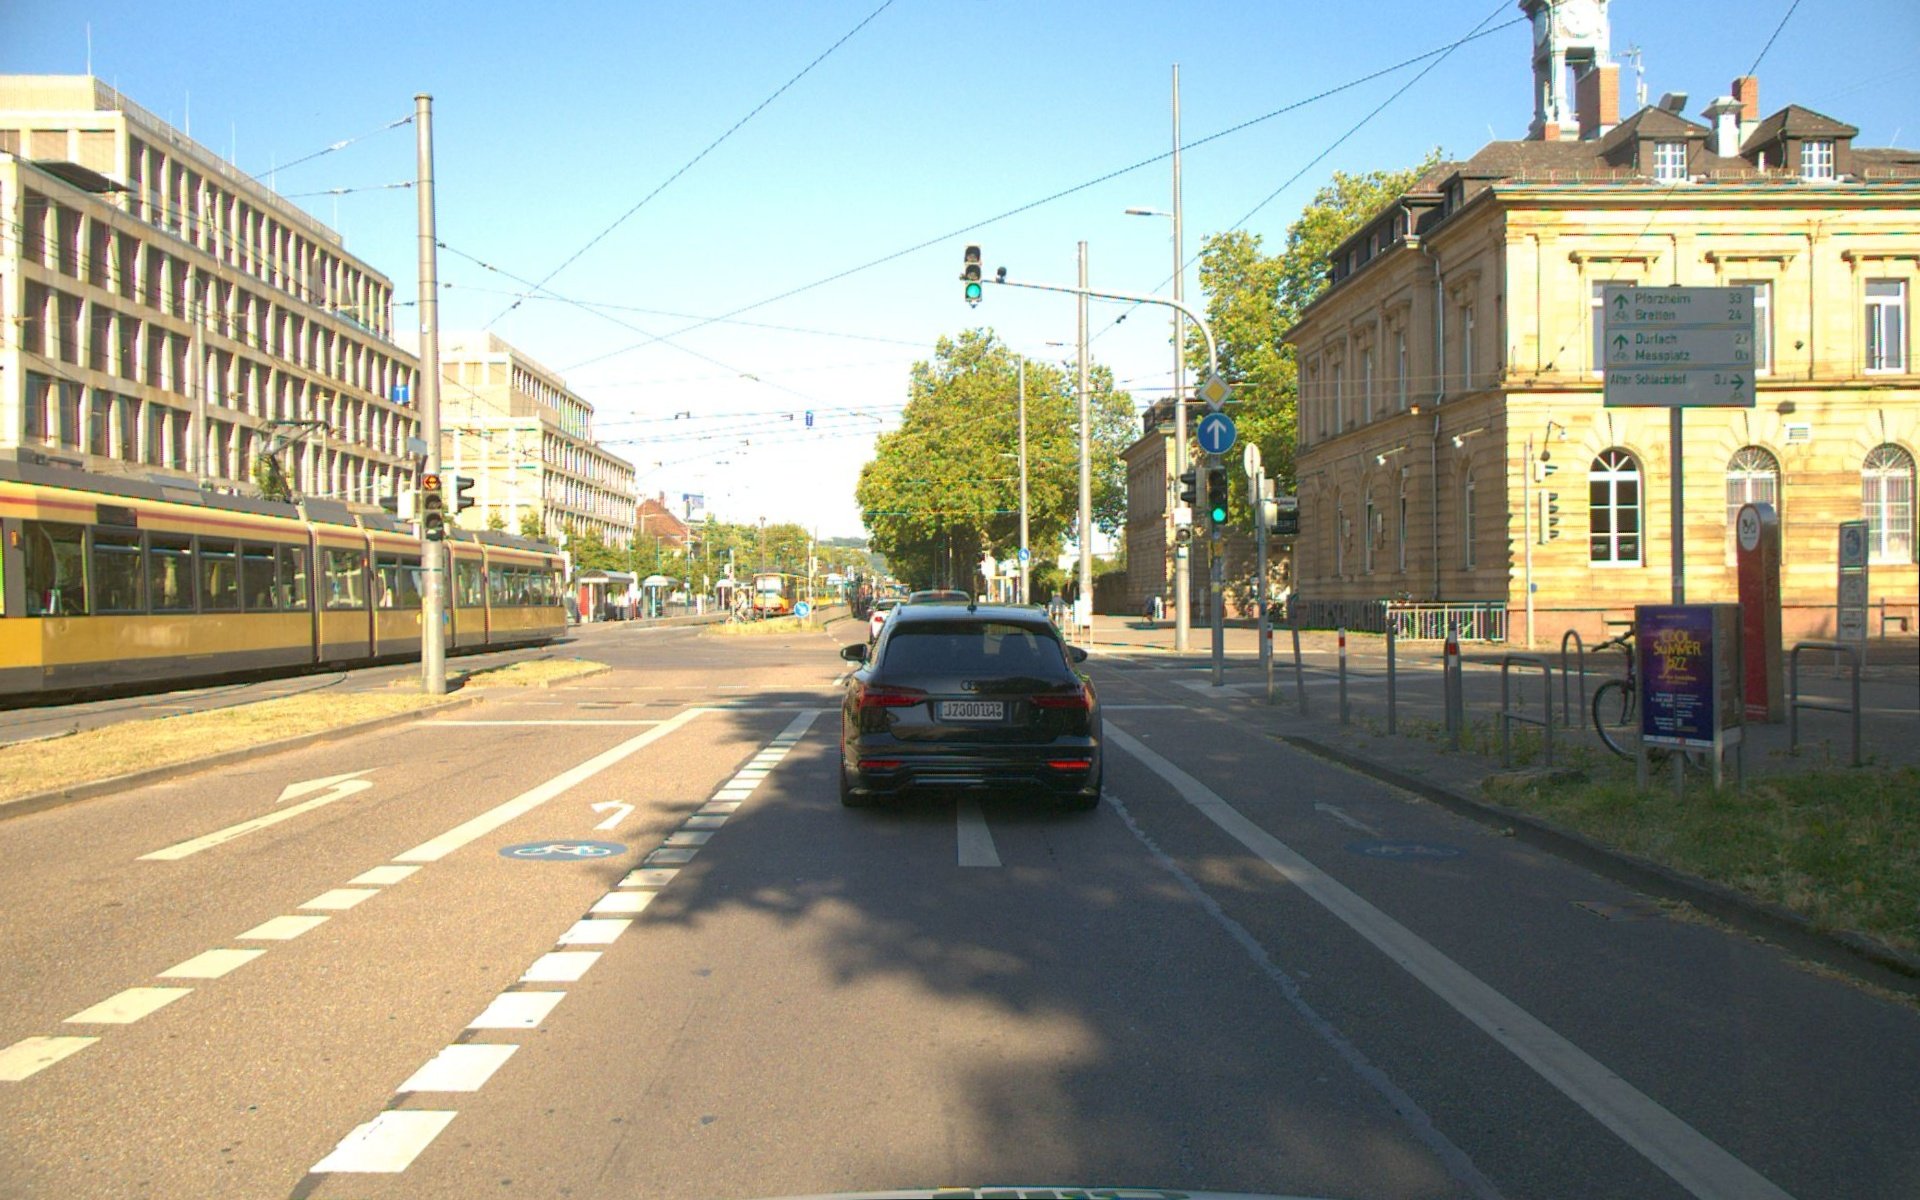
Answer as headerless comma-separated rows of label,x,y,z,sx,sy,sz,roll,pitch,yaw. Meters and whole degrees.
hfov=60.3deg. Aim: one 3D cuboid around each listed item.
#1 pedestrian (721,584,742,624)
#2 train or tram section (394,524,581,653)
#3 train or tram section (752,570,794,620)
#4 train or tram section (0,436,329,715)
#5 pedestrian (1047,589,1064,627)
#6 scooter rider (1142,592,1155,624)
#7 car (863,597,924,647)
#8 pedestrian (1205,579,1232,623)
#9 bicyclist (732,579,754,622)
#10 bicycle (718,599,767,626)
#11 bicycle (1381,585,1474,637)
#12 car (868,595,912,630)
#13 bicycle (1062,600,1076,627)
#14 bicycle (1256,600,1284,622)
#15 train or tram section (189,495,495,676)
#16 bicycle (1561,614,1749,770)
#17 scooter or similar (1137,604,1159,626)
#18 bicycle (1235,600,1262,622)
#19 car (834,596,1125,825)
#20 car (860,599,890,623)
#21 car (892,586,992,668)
pedestrian,-10.058,0.173,72.893,0.731,1.772,0.658,-1,0,-26
train or tram section,-14.572,-0.340,52.242,2.756,3.550,12.149,-1,0,-2
train or tram section,-13.931,-0.358,124.030,2.557,3.511,11.124,-1,0,-4
train or tram section,-13.753,-0.299,26.323,2.756,3.550,13.198,-1,0,-2
pedestrian,4.304,0.377,74.459,0.668,1.690,0.758,-1,0,-4
scooter rider,8.567,0.353,75.008,0.475,1.410,0.377,-2,-1,-4
car,-2.132,0.694,53.822,1.864,1.512,4.143,1,0,-2
pedestrian,11.223,0.032,71.831,0.960,1.898,0.825,-1,0,-6
bicyclist,-9.381,0.023,71.486,0.747,1.850,0.759,-1,0,-24
bicycle,-9.382,0.535,71.442,1.979,1.127,0.759,-1,0,-25
bicycle,11.871,0.277,42.033,2.095,1.230,0.765,-2,0,-4
car,-3.112,0.532,73.883,1.864,1.512,4.143,1,0,-2
bicycle,4.917,0.604,74.508,0.426,1.165,1.339,-1,0,-4
bicycle,15.143,0.531,80.854,0.516,1.065,2.353,-1,0,-10
train or tram section,-14.154,-0.295,39.536,2.756,3.550,13.198,-1,0,-2
bicycle,5.256,0.658,12.620,0.529,1.080,1.769,-1,0,-5
scooter or similar,8.517,0.691,74.989,0.920,0.983,0.361,-2,-1,-4
bicycle,14.099,0.521,80.833,0.516,1.065,2.353,-1,0,-10
car,0.072,0.714,12.756,1.864,1.446,4.143,1,0,-2
car,-5.574,0.698,109.445,1.864,1.512,4.143,1,0,-2
car,-0.389,0.500,33.290,1.864,1.512,4.143,1,0,-2
